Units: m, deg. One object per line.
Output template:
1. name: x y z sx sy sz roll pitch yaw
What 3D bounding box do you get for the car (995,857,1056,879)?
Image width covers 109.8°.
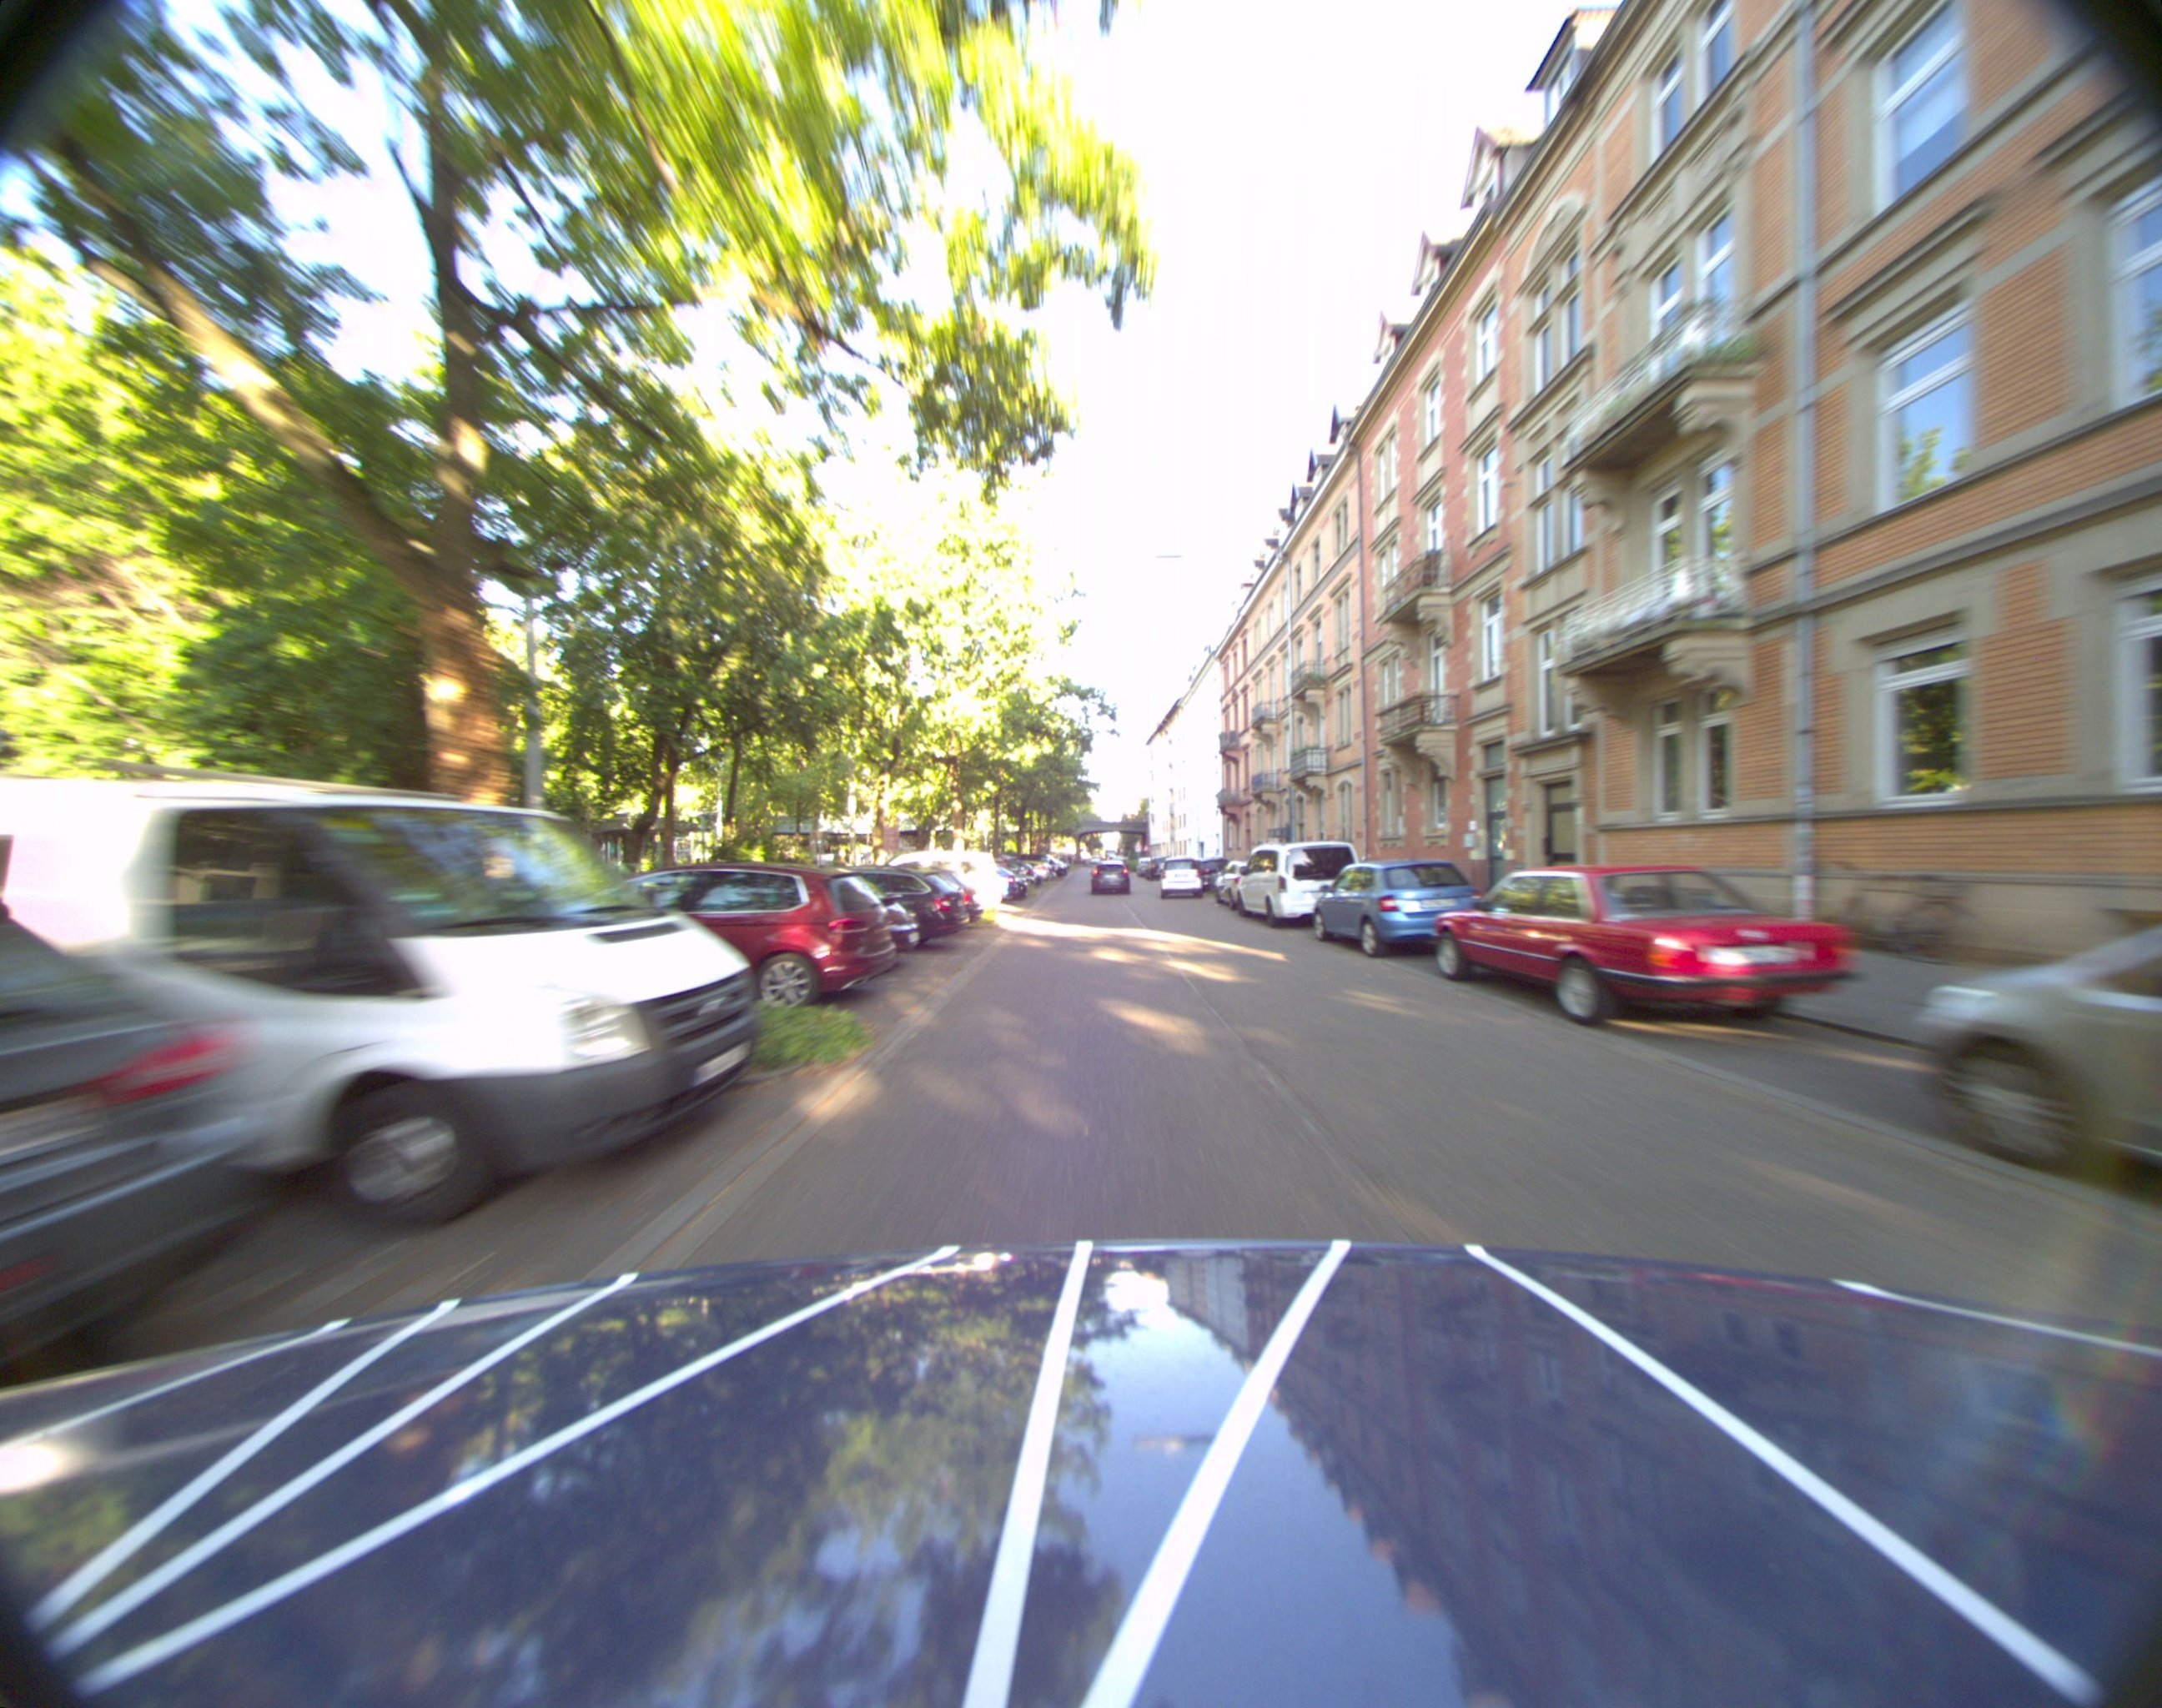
1. car: -3.848 0.958 53.382 4.130 1.480 1.684 0 0 1

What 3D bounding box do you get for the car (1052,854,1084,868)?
1. car: -1.756 0.986 105.360 4.389 1.676 1.882 -3 0 1

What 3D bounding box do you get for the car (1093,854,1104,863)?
1. car: 3.121 0.830 137.822 1.881 1.433 4.393 -3 0 1

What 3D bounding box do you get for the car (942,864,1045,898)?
1. car: -3.529 1.073 31.067 3.997 1.331 1.684 0 0 1

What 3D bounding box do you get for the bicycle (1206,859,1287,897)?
1. bicycle: 6.511 0.949 30.003 3.043 1.476 0.817 0 0 1

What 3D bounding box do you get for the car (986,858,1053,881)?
1. car: -3.933 0.973 48.732 4.130 1.480 1.684 0 0 1

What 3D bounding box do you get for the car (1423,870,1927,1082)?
1. car: 5.258 0.930 7.643 1.767 1.375 4.290 -3 0 2

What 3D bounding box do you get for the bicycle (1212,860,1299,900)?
1. bicycle: 6.475 0.954 28.254 3.043 1.476 0.817 0 0 1

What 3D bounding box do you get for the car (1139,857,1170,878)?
1. car: 5.581 0.989 58.055 1.881 1.433 4.393 -3 0 1

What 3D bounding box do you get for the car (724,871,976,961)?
1. car: -4.007 1.062 13.626 3.997 1.480 1.684 0 0 1

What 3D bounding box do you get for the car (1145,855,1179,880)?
1. car: 5.550 0.893 52.812 1.881 1.559 4.393 -3 0 1

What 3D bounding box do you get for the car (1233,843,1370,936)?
1. car: 5.112 0.755 18.336 1.912 1.872 4.725 -3 0 1

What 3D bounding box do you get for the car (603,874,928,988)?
1. car: -4.392 1.049 11.011 3.997 1.480 1.684 0 0 1

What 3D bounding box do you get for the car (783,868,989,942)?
1. car: -4.103 1.061 16.405 3.997 1.480 1.684 0 0 1

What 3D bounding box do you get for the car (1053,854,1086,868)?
1. car: -1.556 0.981 103.091 4.389 1.676 1.882 -3 0 1

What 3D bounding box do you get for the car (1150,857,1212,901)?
1. car: 3.925 0.939 30.381 1.881 1.527 4.393 -3 0 1

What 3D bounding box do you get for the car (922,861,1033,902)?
1. car: -3.914 1.022 29.082 3.997 1.480 1.684 0 0 1

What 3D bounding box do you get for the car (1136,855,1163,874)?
1. car: 5.633 0.845 62.787 1.881 1.433 4.393 -3 0 1

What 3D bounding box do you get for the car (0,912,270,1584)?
1. car: -4.590 0.967 1.508 3.997 1.571 1.765 0 0 -1

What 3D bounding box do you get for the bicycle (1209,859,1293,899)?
1. bicycle: 6.479 0.952 29.118 3.043 1.476 0.817 0 0 1

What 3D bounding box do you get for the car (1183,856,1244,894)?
1. car: 5.736 0.873 33.349 1.881 1.433 4.393 -3 0 1

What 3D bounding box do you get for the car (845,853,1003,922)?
1. car: -4.257 0.886 21.030 3.997 1.822 1.684 0 0 1

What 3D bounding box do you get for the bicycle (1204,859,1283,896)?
1. bicycle: 6.575 0.943 30.862 3.043 1.476 0.817 0 0 1

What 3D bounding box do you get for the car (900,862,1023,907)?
1. car: -4.086 1.036 26.482 3.997 1.480 1.684 0 0 1

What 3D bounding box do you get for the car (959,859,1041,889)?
1. car: -4.102 1.008 38.996 3.997 1.480 1.684 0 0 1

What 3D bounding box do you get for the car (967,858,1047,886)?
1. car: -4.002 0.977 41.474 4.130 1.513 1.684 0 0 1

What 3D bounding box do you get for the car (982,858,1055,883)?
1. car: -3.732 0.973 46.063 4.263 1.480 1.684 0 0 1

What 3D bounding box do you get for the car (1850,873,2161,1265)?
1. car: 5.135 0.878 2.390 1.688 1.466 3.709 -3 0 1

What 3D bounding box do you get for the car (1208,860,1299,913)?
1. car: 5.337 0.950 24.079 1.881 1.433 4.393 -3 0 1

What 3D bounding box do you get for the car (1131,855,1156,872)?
1. car: 5.623 0.831 68.605 1.881 1.433 4.393 -3 0 1

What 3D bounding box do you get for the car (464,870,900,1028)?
1. car: -4.240 0.976 8.513 3.997 1.545 1.684 0 0 1

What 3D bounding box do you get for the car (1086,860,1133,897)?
1. car: 1.207 1.043 34.149 1.881 1.422 4.392 -3 0 0

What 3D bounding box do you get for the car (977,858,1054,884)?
1. car: -3.729 0.978 43.758 4.263 1.480 1.684 0 0 1

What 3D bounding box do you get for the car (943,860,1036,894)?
1. car: -4.129 1.019 34.571 3.997 1.480 1.684 0 0 1

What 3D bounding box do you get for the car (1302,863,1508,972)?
1. car: 5.152 0.923 12.703 1.767 1.430 3.888 -3 0 1

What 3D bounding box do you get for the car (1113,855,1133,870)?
1. car: 4.319 0.873 78.519 1.881 1.433 4.393 -3 0 1

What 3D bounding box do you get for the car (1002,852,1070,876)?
1. car: -3.424 0.732 58.383 5.095 1.831 1.832 0 0 1

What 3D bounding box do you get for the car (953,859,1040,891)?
1. car: -4.008 1.009 36.534 3.997 1.480 1.684 0 0 1

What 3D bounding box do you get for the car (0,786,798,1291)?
1. car: -4.390 0.739 4.159 4.856 2.026 2.155 0 0 1
